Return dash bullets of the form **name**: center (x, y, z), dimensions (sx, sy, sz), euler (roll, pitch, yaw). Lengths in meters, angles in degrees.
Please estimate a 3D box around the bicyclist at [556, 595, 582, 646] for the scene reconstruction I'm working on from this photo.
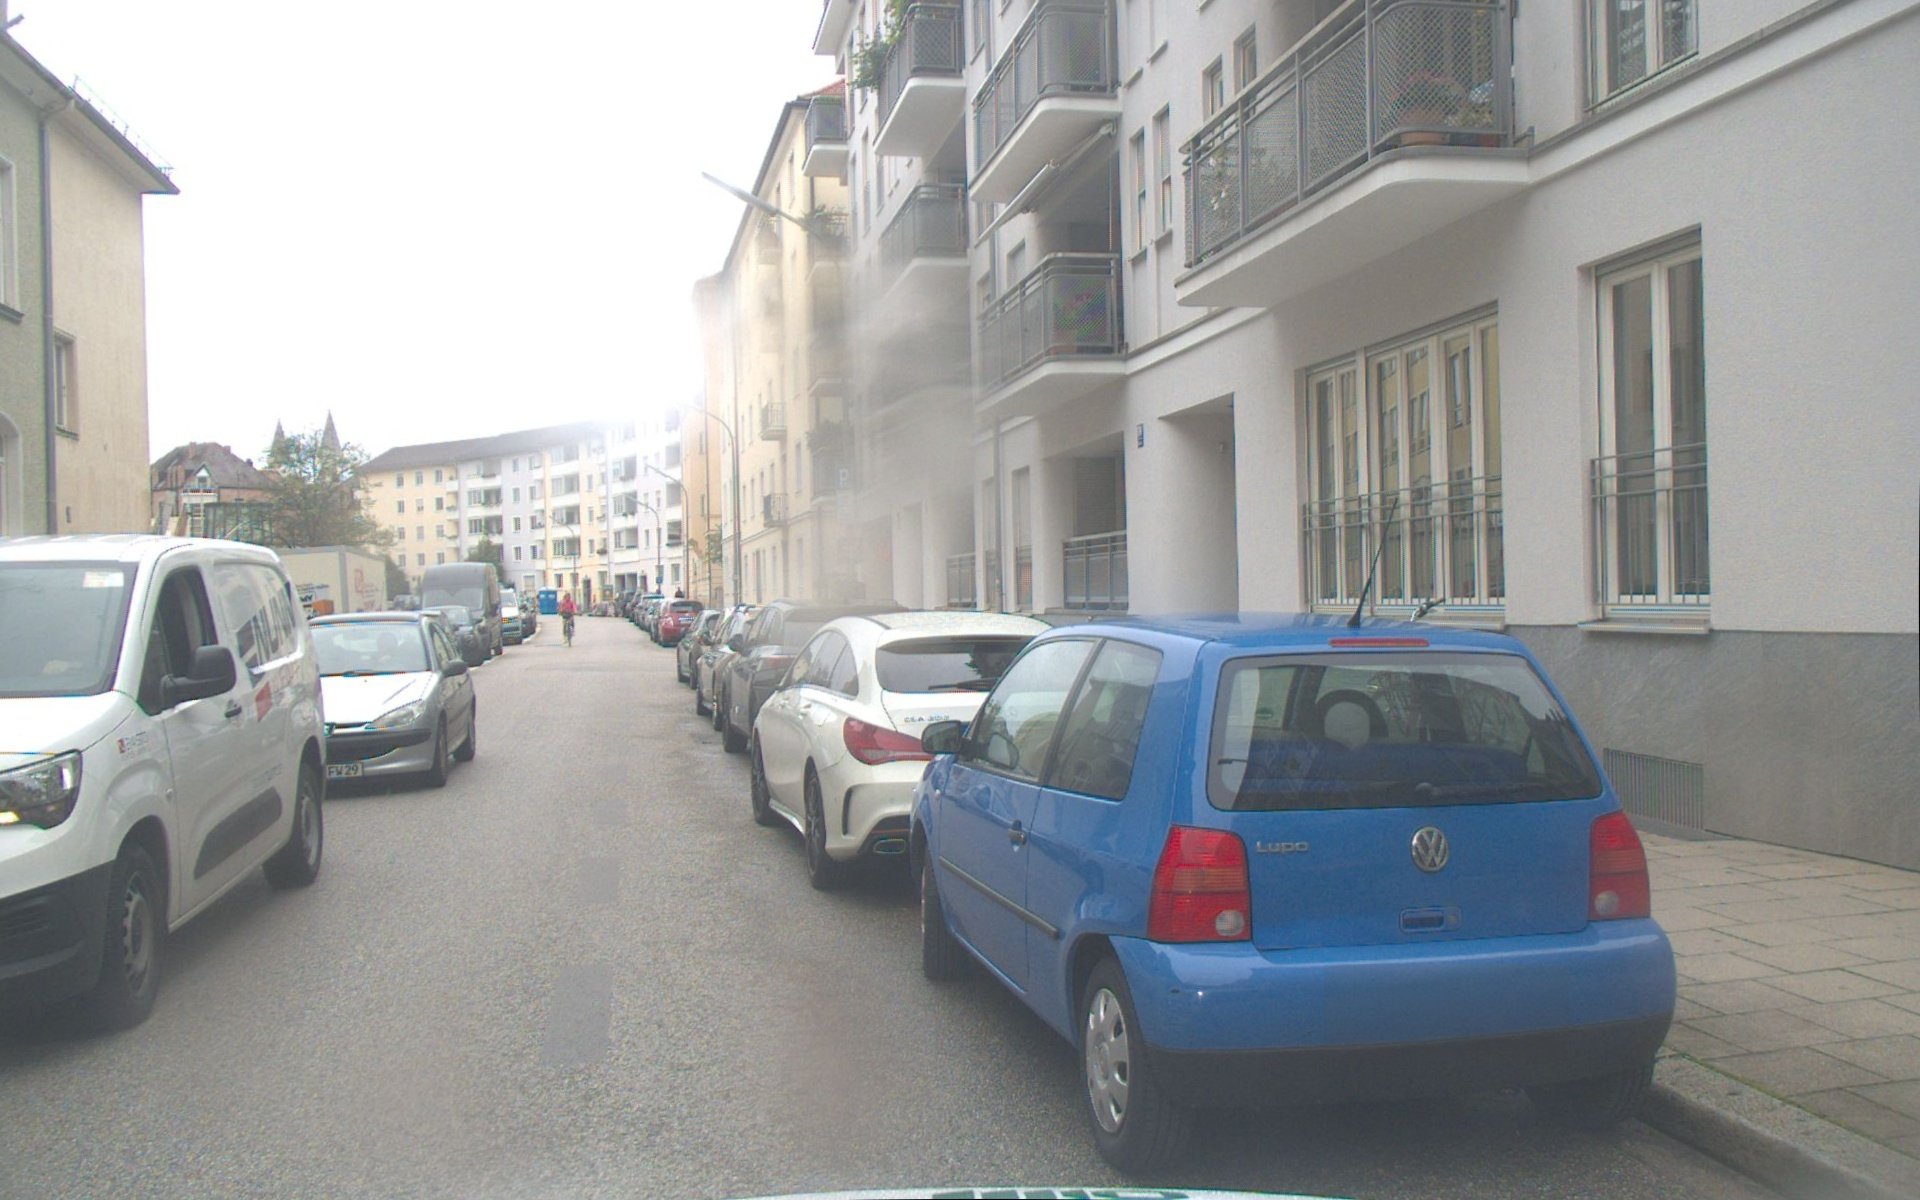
- **bicyclist**: center (-12.771, 0.663, 54.049), dimensions (0.681, 1.589, 0.964), euler (-3, 0, -9)

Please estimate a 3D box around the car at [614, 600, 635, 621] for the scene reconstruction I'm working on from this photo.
- **car**: center (-22.168, 0.682, 109.368), dimensions (1.250, 1.321, 2.787), euler (-1, 0, -13)

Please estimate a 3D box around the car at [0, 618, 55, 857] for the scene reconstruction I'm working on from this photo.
- **car**: center (-6.650, 0.905, 9.697), dimensions (1.448, 1.492, 3.302), euler (-3, 1, -13)

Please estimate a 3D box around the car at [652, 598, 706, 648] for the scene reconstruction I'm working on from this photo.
- **car**: center (-9.298, 0.719, 54.577), dimensions (1.567, 1.535, 3.789), euler (-2, 0, -12)

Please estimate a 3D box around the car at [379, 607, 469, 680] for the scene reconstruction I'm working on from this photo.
- **car**: center (-12.062, 0.932, 37.396), dimensions (1.672, 1.471, 3.810), euler (-1, 1, -14)

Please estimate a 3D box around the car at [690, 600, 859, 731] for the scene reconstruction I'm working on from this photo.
- **car**: center (-2.579, 0.797, 22.063), dimensions (1.704, 1.557, 4.606), euler (1, 0, -13)

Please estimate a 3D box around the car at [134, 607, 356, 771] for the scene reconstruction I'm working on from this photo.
- **car**: center (-8.431, 0.964, 19.831), dimensions (1.658, 1.630, 3.908), euler (-3, 1, -13)

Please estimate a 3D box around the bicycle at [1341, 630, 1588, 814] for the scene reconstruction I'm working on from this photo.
- **bicycle**: center (3.162, 0.737, 10.579), dimensions (0.665, 1.046, 1.828), euler (-2, -1, -13)

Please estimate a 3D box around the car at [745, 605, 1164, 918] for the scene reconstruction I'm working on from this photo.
- **car**: center (-0.265, 0.777, 10.001), dimensions (1.629, 1.465, 4.192), euler (1, 0, -13)

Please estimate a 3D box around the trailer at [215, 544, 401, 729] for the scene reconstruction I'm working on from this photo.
- **trailer**: center (-9.887, 0.495, 25.409), dimensions (1.679, 2.504, 4.375), euler (-3, 1, -10)

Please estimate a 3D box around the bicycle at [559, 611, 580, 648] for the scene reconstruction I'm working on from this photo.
- **bicycle**: center (-12.761, 0.946, 54.043), dimensions (0.495, 1.148, 1.769), euler (-3, 1, -9)

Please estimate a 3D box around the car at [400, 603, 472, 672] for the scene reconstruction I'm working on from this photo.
- **car**: center (-13.054, 0.897, 41.331), dimensions (1.560, 1.565, 3.528), euler (-3, 1, -16)

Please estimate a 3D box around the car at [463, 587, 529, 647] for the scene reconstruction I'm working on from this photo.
- **car**: center (-16.739, 0.579, 59.787), dimensions (1.850, 1.965, 4.588), euler (-3, 1, -11)

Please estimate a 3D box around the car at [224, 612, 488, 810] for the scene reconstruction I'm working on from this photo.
- **car**: center (-5.101, 0.853, 14.396), dimensions (1.553, 1.436, 3.603), euler (-2, 0, -11)

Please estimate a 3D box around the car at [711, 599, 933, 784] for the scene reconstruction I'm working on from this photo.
- **car**: center (-1.457, 0.787, 16.080), dimensions (1.576, 1.557, 3.970), euler (1, 0, -13)

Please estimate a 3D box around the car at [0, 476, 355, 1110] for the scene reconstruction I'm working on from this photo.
- **car**: center (-3.945, 0.621, 6.911), dimensions (1.739, 1.835, 4.562), euler (-3, 0, -9)

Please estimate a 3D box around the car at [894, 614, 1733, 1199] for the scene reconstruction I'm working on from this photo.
- **car**: center (0.846, 0.777, 5.794), dimensions (1.590, 1.437, 3.543), euler (1, -1, -12)

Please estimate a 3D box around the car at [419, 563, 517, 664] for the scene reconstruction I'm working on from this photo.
- **car**: center (-14.007, 0.322, 47.346), dimensions (2.050, 2.682, 5.363), euler (-2, 1, -10)

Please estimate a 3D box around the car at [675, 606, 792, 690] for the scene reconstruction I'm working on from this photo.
- **car**: center (-4.346, 0.869, 31.293), dimensions (1.734, 1.432, 4.063), euler (-1, 0, -14)

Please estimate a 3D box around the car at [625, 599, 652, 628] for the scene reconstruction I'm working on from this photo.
- **car**: center (-19.201, 0.770, 98.624), dimensions (1.449, 1.669, 3.987), euler (0, 0, -13)

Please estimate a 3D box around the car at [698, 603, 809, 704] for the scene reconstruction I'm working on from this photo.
- **car**: center (-3.461, 0.824, 27.320), dimensions (1.493, 1.557, 3.515), euler (0, 0, -13)

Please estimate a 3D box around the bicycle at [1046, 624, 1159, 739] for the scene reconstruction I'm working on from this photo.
- **bicycle**: center (1.593, 0.893, 18.889), dimensions (0.616, 1.180, 2.119), euler (-2, 0, -14)
